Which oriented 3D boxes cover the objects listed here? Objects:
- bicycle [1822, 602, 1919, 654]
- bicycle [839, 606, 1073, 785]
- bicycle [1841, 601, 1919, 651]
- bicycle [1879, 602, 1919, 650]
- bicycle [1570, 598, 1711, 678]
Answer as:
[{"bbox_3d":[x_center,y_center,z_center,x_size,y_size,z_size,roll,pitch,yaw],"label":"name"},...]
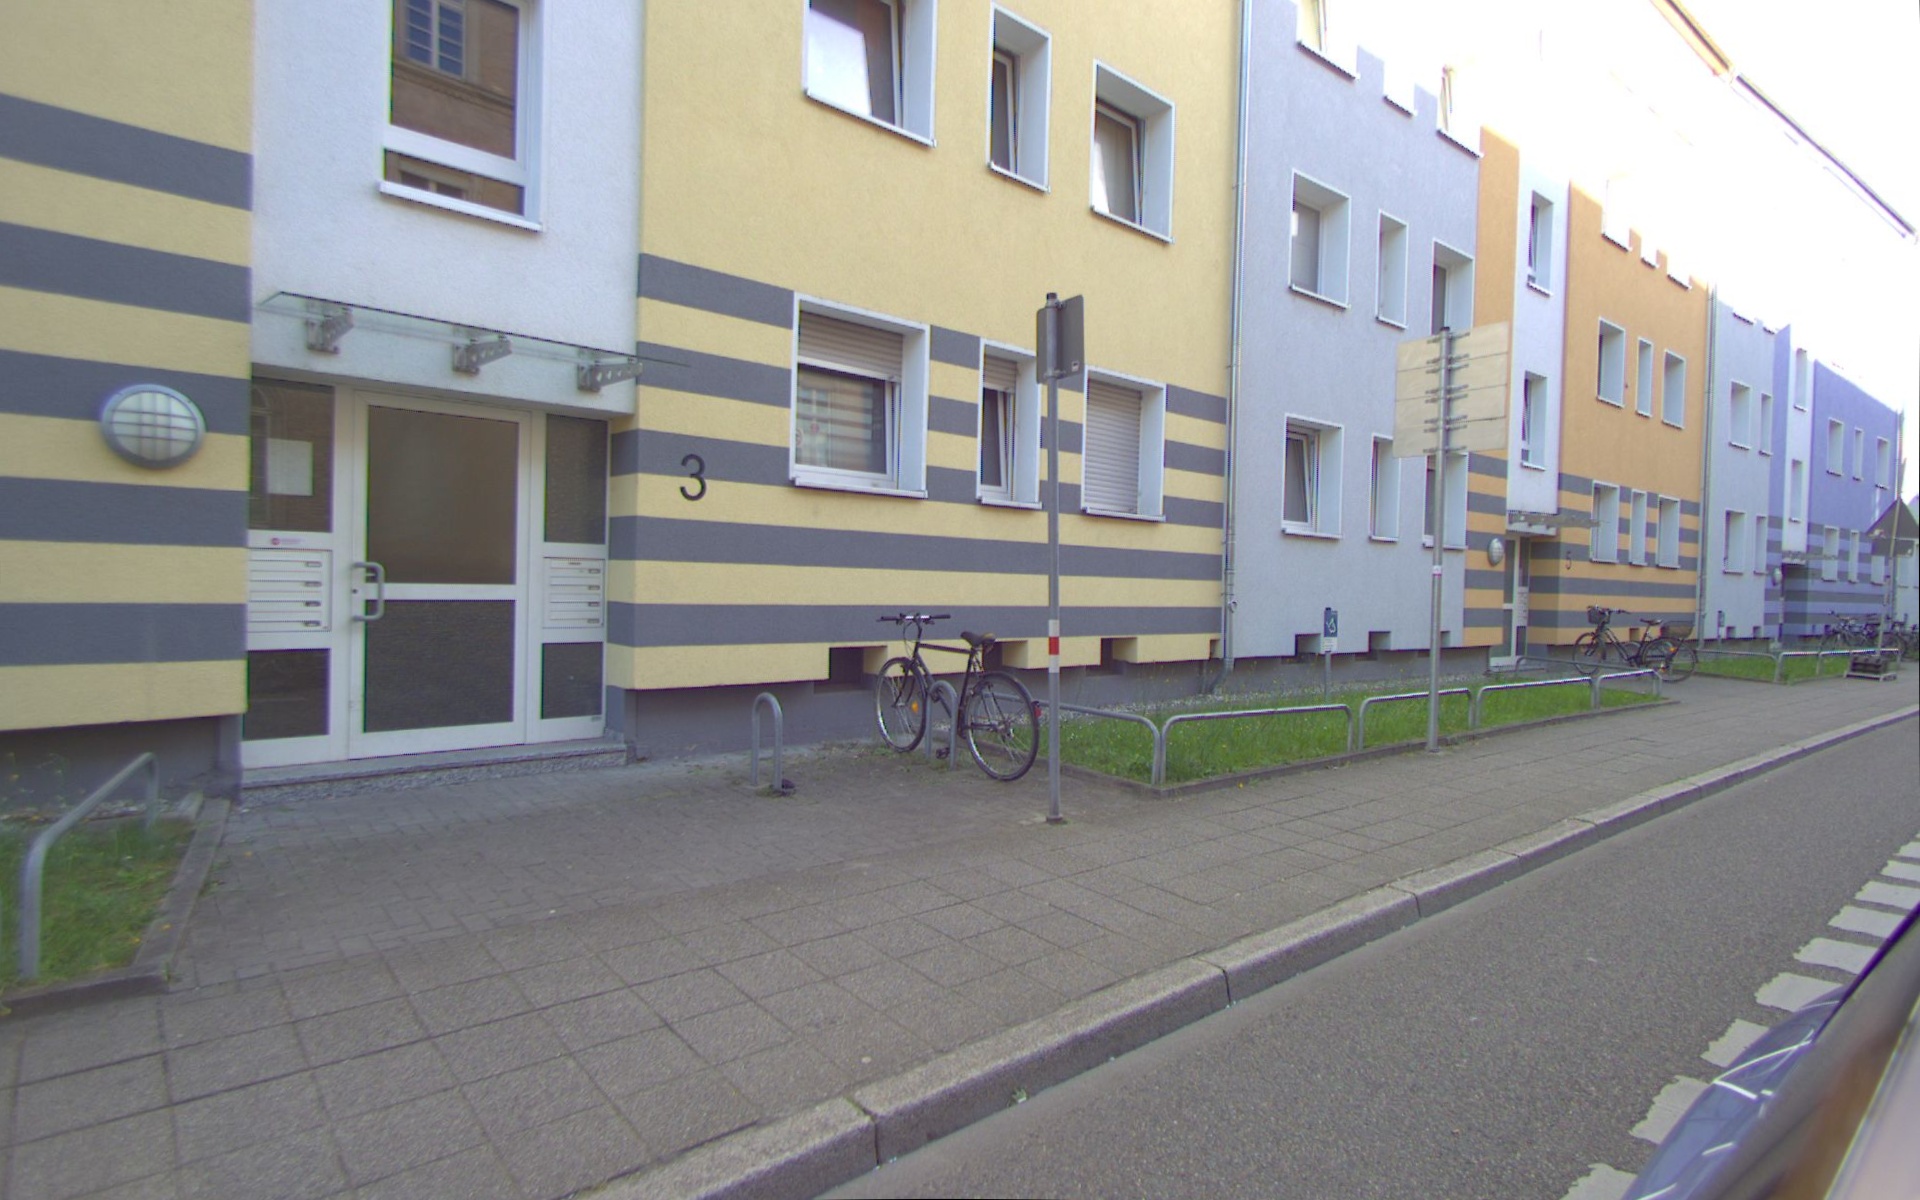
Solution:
[{"bbox_3d":[22.223,0.668,24.723,0.475,1.166,1.678,1,1,-37],"label":"bicycle"},{"bbox_3d":[-0.077,0.589,7.011,1.775,1.031,0.476,3,1,44],"label":"bicycle"},{"bbox_3d":[23.304,0.651,25.415,0.475,1.166,1.678,1,1,-37],"label":"bicycle"},{"bbox_3d":[24.132,0.663,25.272,0.475,1.166,1.678,1,1,-37],"label":"bicycle"},{"bbox_3d":[10.684,0.566,15.939,1.775,1.137,0.476,3,1,44],"label":"bicycle"}]
